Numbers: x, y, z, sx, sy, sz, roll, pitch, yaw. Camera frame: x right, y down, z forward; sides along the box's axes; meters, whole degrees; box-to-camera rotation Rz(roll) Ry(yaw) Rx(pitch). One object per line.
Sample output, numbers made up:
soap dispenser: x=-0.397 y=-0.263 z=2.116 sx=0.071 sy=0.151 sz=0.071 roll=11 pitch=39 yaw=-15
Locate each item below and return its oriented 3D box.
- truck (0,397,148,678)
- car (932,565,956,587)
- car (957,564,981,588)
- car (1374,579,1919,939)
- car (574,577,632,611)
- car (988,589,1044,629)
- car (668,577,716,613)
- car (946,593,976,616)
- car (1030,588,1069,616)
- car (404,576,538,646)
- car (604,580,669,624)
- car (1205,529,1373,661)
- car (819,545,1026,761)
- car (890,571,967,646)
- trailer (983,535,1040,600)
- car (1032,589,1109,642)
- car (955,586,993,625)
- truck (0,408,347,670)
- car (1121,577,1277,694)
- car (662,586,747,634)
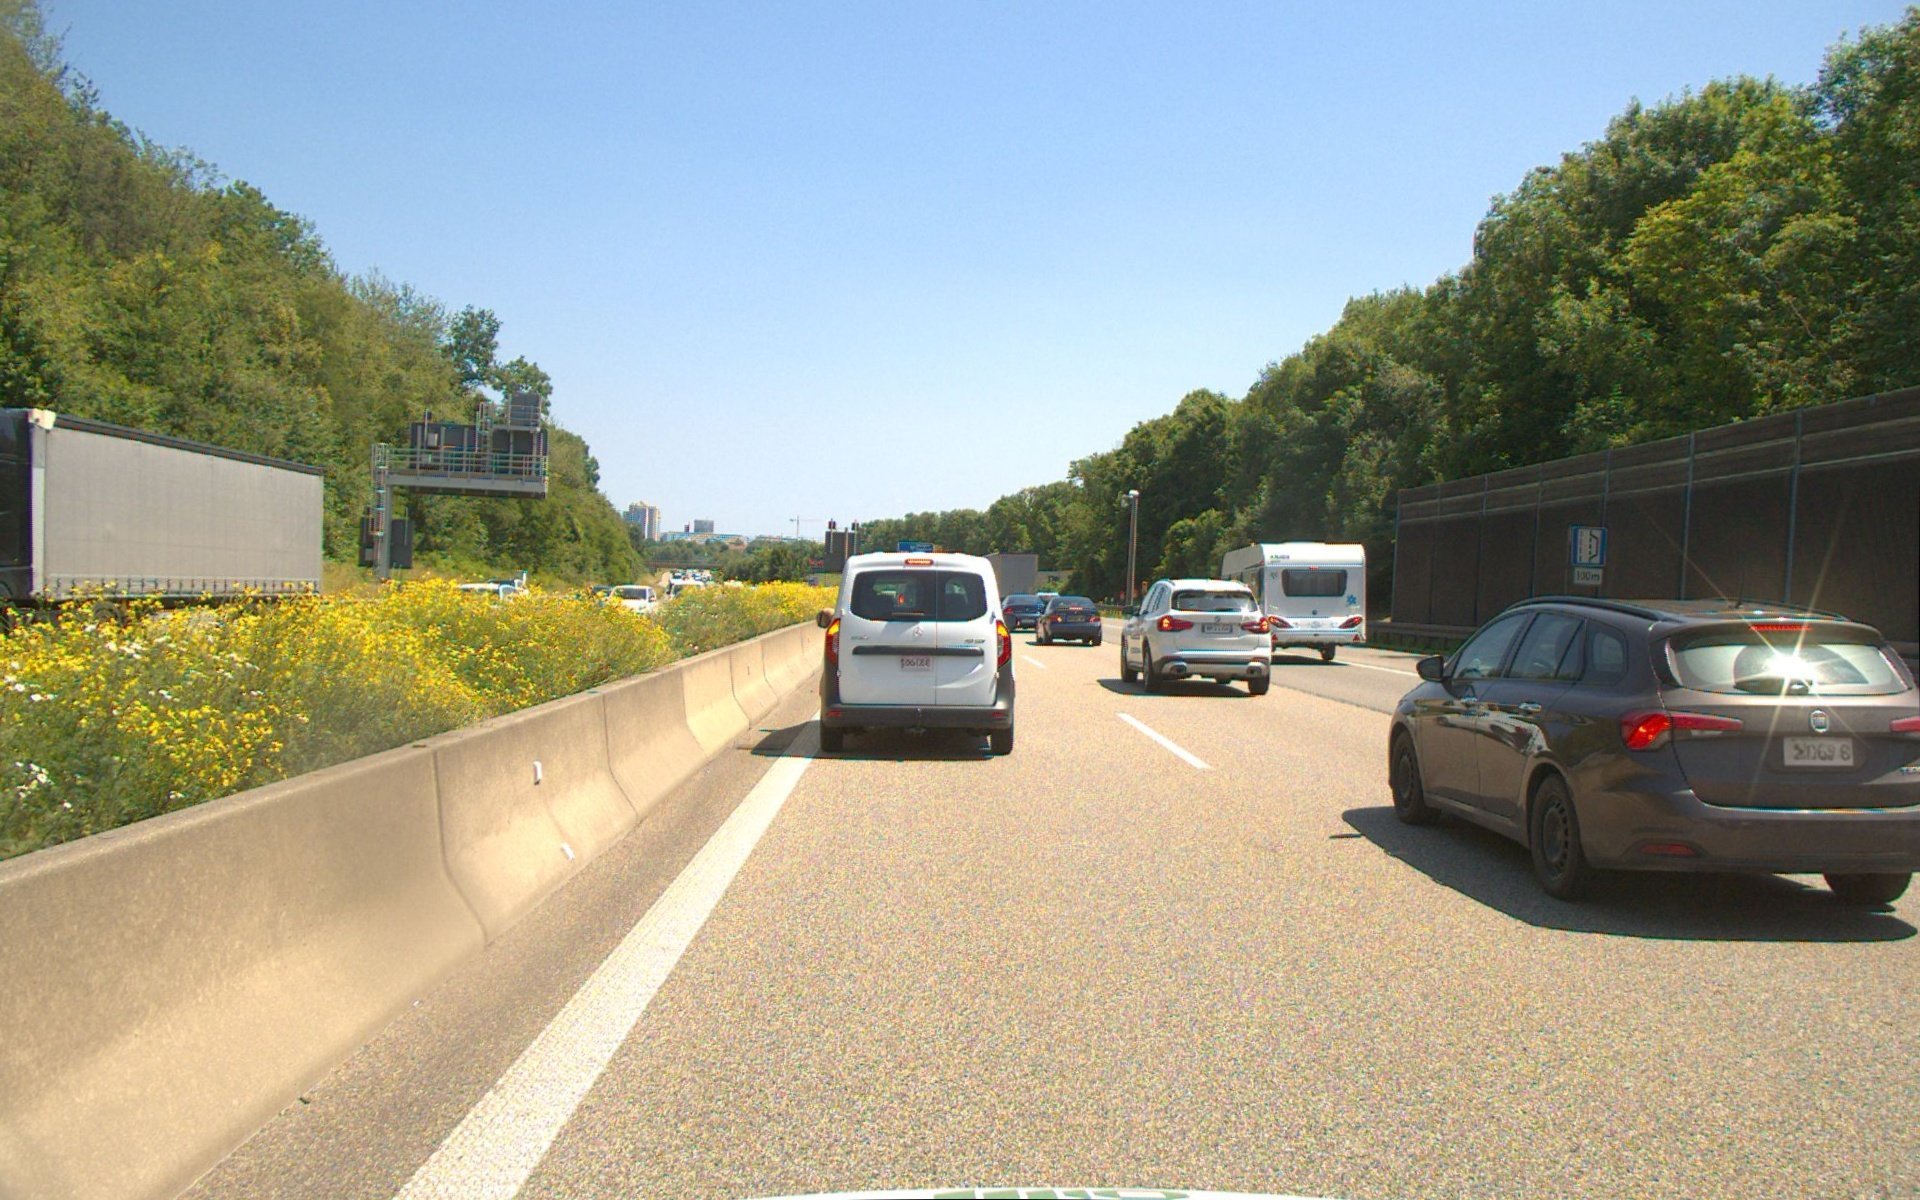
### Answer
truck: x=-15.167 y=-0.920 z=25.278 sx=2.773 sy=4.008 sz=6.003 roll=1 pitch=0 yaw=-3
car: x=-1.526 y=-2.325 z=159.305 sx=1.955 sy=2.049 sz=3.995 roll=0 pitch=0 yaw=-6
car: x=0.760 y=-2.026 z=142.146 sx=1.953 sy=2.049 sz=3.998 roll=0 pitch=0 yaw=-2
car: x=3.860 y=0.673 z=9.422 sx=1.801 sy=1.539 sz=4.401 roll=1 pitch=1 yaw=-1
car: x=-16.697 y=-0.307 z=77.550 sx=1.953 sy=1.517 sz=3.999 roll=1 pitch=0 yaw=-2
car: x=2.080 y=0.314 z=62.468 sx=1.787 sy=1.449 sz=3.998 roll=1 pitch=0 yaw=-2
car: x=-13.790 y=-0.285 z=85.255 sx=1.847 sy=1.786 sz=4.275 roll=1 pitch=0 yaw=-2
car: x=0.076 y=0.259 z=108.198 sx=1.787 sy=1.472 sz=3.998 roll=1 pitch=0 yaw=-2
car: x=4.909 y=0.095 z=91.443 sx=1.787 sy=1.449 sz=3.998 roll=1 pitch=0 yaw=-2
car: x=-11.422 y=0.226 z=38.922 sx=1.953 sy=1.524 sz=4.246 roll=1 pitch=0 yaw=-1
car: x=-11.596 y=0.062 z=59.461 sx=1.641 sy=1.524 sz=3.882 roll=1 pitch=0 yaw=-1
car: x=7.525 y=-0.122 z=38.582 sx=2.429 sy=2.814 sz=6.217 roll=1 pitch=0 yaw=-2
car: x=-0.289 y=0.443 z=16.277 sx=1.765 sy=1.839 sz=4.001 roll=1 pitch=0 yaw=1
car: x=-0.878 y=0.203 z=44.065 sx=1.953 sy=1.892 sz=3.998 roll=1 pitch=0 yaw=-2
trailer: x=3.363 y=-2.097 z=110.188 sx=3.020 sy=4.055 sz=10.318 roll=1 pitch=0 yaw=-2
car: x=3.153 y=0.422 z=47.685 sx=1.787 sy=1.449 sz=3.998 roll=1 pitch=0 yaw=-2
car: x=0.721 y=0.289 z=88.581 sx=1.787 sy=2.024 sz=3.998 roll=1 pitch=0 yaw=-2
truck: x=-15.555 y=-1.019 z=32.233 sx=2.773 sy=4.007 sz=13.737 roll=1 pitch=1 yaw=-3
car: x=3.615 y=0.477 z=25.664 sx=1.833 sy=1.636 sz=3.879 roll=1 pitch=1 yaw=0
car: x=-7.598 y=0.270 z=49.499 sx=1.953 sy=1.364 sz=4.246 roll=1 pitch=0 yaw=-1
